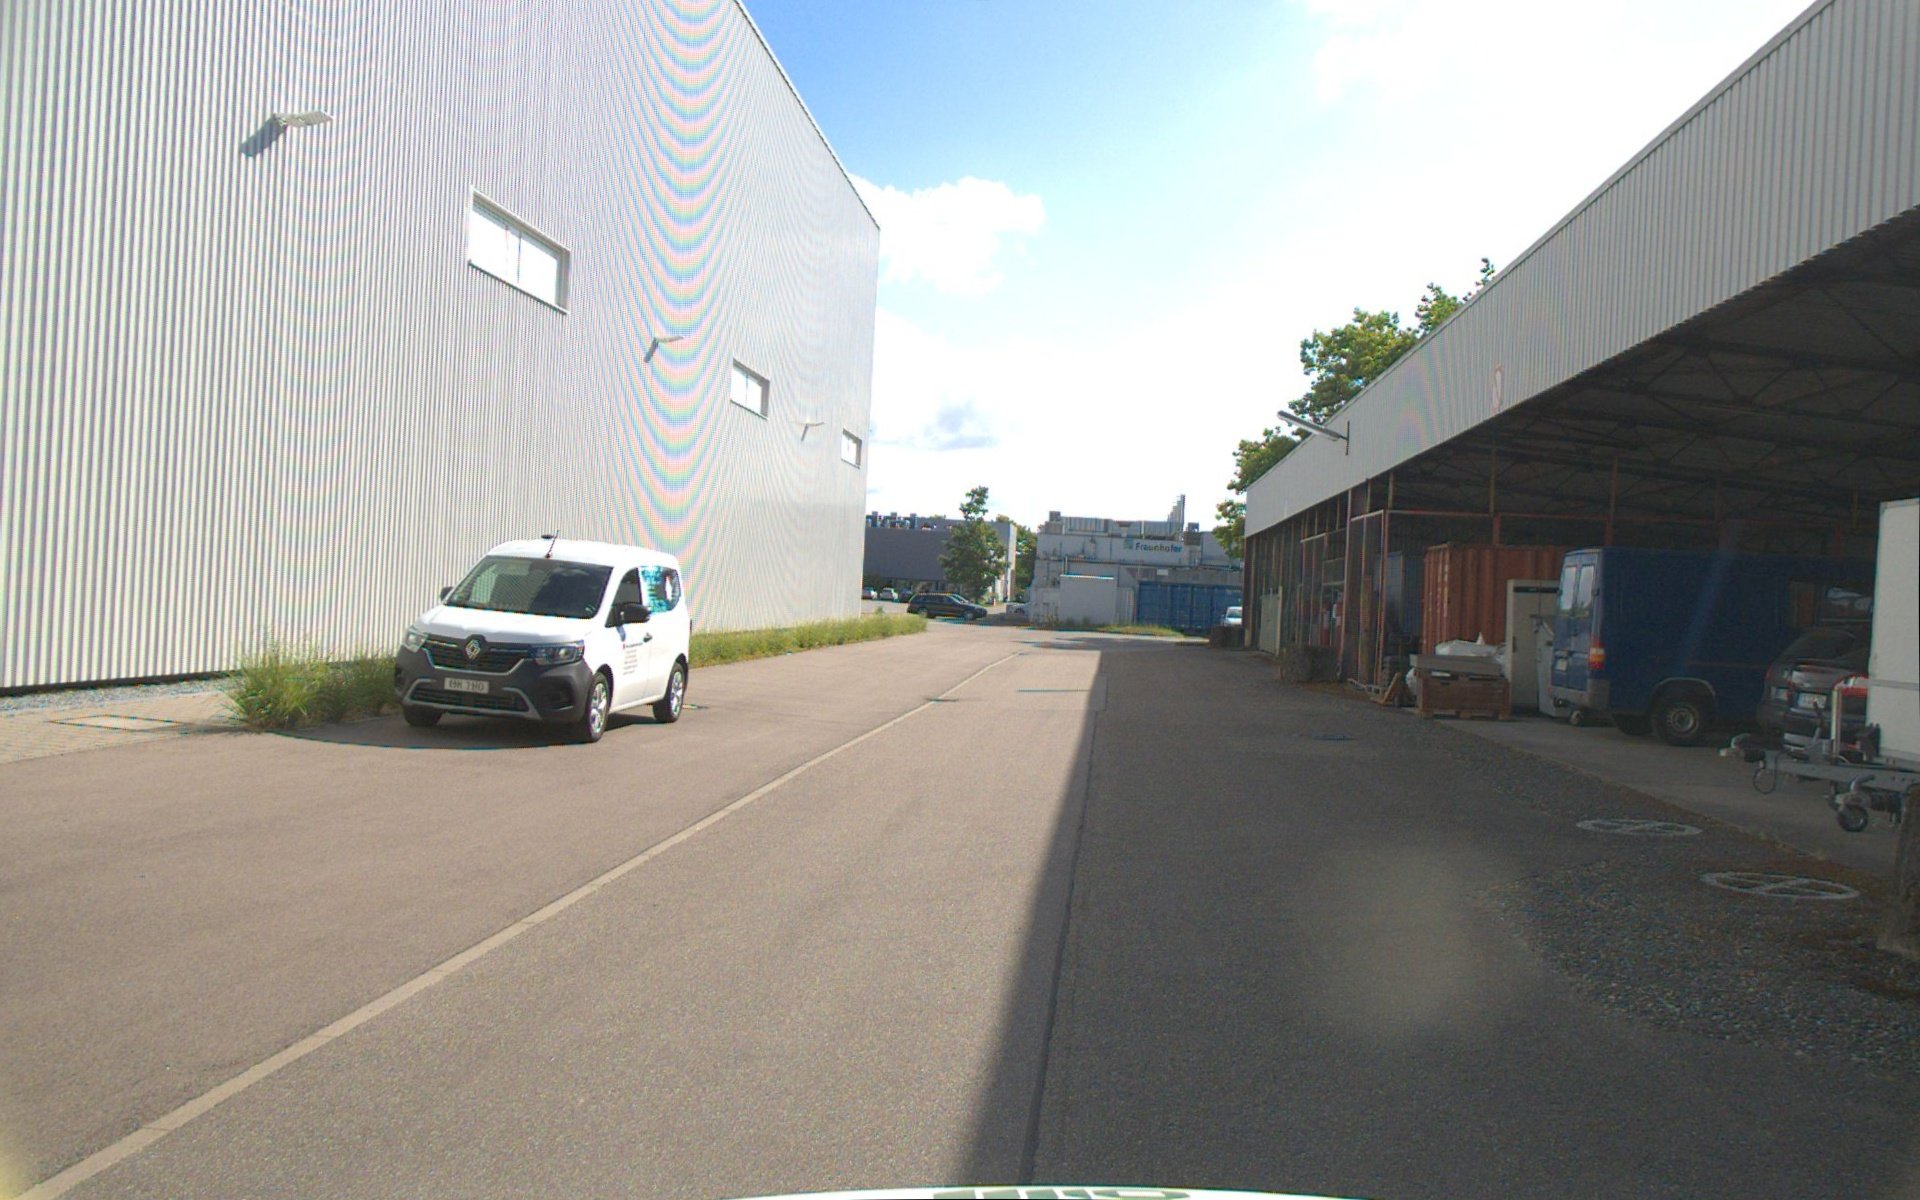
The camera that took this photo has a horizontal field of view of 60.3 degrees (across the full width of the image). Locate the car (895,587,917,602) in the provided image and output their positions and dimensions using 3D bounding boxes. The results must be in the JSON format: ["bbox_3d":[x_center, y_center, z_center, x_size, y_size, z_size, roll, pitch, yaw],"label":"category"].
[{"bbox_3d":[-6.393,-0.647,194.823,2.147,1.766,4.002,1,0,4],"label":"car"}]

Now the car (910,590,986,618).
[{"bbox_3d":[-0.698,0.244,101.755,4.430,1.534,1.910,2,0,7],"label":"car"}]

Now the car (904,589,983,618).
[{"bbox_3d":[-0.947,0.221,98.525,4.430,1.534,1.910,2,0,7],"label":"car"}]

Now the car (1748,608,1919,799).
[{"bbox_3d":[9.353,0.908,14.247,4.239,1.522,1.778,2,0,3],"label":"car"}]

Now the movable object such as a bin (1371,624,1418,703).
[{"bbox_3d":[6.900,0.996,26.279,0.569,1.185,1.239,2,0,9],"label":"movable object such as a bin"}]

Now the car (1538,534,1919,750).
[{"bbox_3d":[9.906,0.508,20.321,4.874,2.366,2.001,2,0,5],"label":"car"}]

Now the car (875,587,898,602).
[{"bbox_3d":[-8.738,-0.651,196.741,2.147,1.766,4.002,1,0,4],"label":"car"}]

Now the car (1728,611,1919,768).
[{"bbox_3d":[10.418,0.948,17.298,3.905,1.498,1.788,2,0,0],"label":"car"}]

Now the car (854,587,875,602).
[{"bbox_3d":[-11.291,-0.671,196.614,1.951,1.766,4.002,1,0,4],"label":"car"}]

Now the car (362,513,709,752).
[{"bbox_3d":[-3.948,0.272,16.250,1.851,1.877,4.361,5,0,4],"label":"car"}]

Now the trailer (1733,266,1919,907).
[{"bbox_3d":[9.874,0.084,8.998,9.826,3.272,2.855,2,0,5],"label":"trailer"}]

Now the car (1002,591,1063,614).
[{"bbox_3d":[5.511,0.176,125.689,4.430,1.534,1.910,3,0,6],"label":"car"}]

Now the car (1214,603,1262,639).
[{"bbox_3d":[14.161,1.053,84.418,1.952,1.613,4.175,3,2,4],"label":"car"}]

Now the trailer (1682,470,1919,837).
[{"bbox_3d":[7.885,0.419,11.720,4.710,2.433,1.828,2,0,10],"label":"trailer"}]
